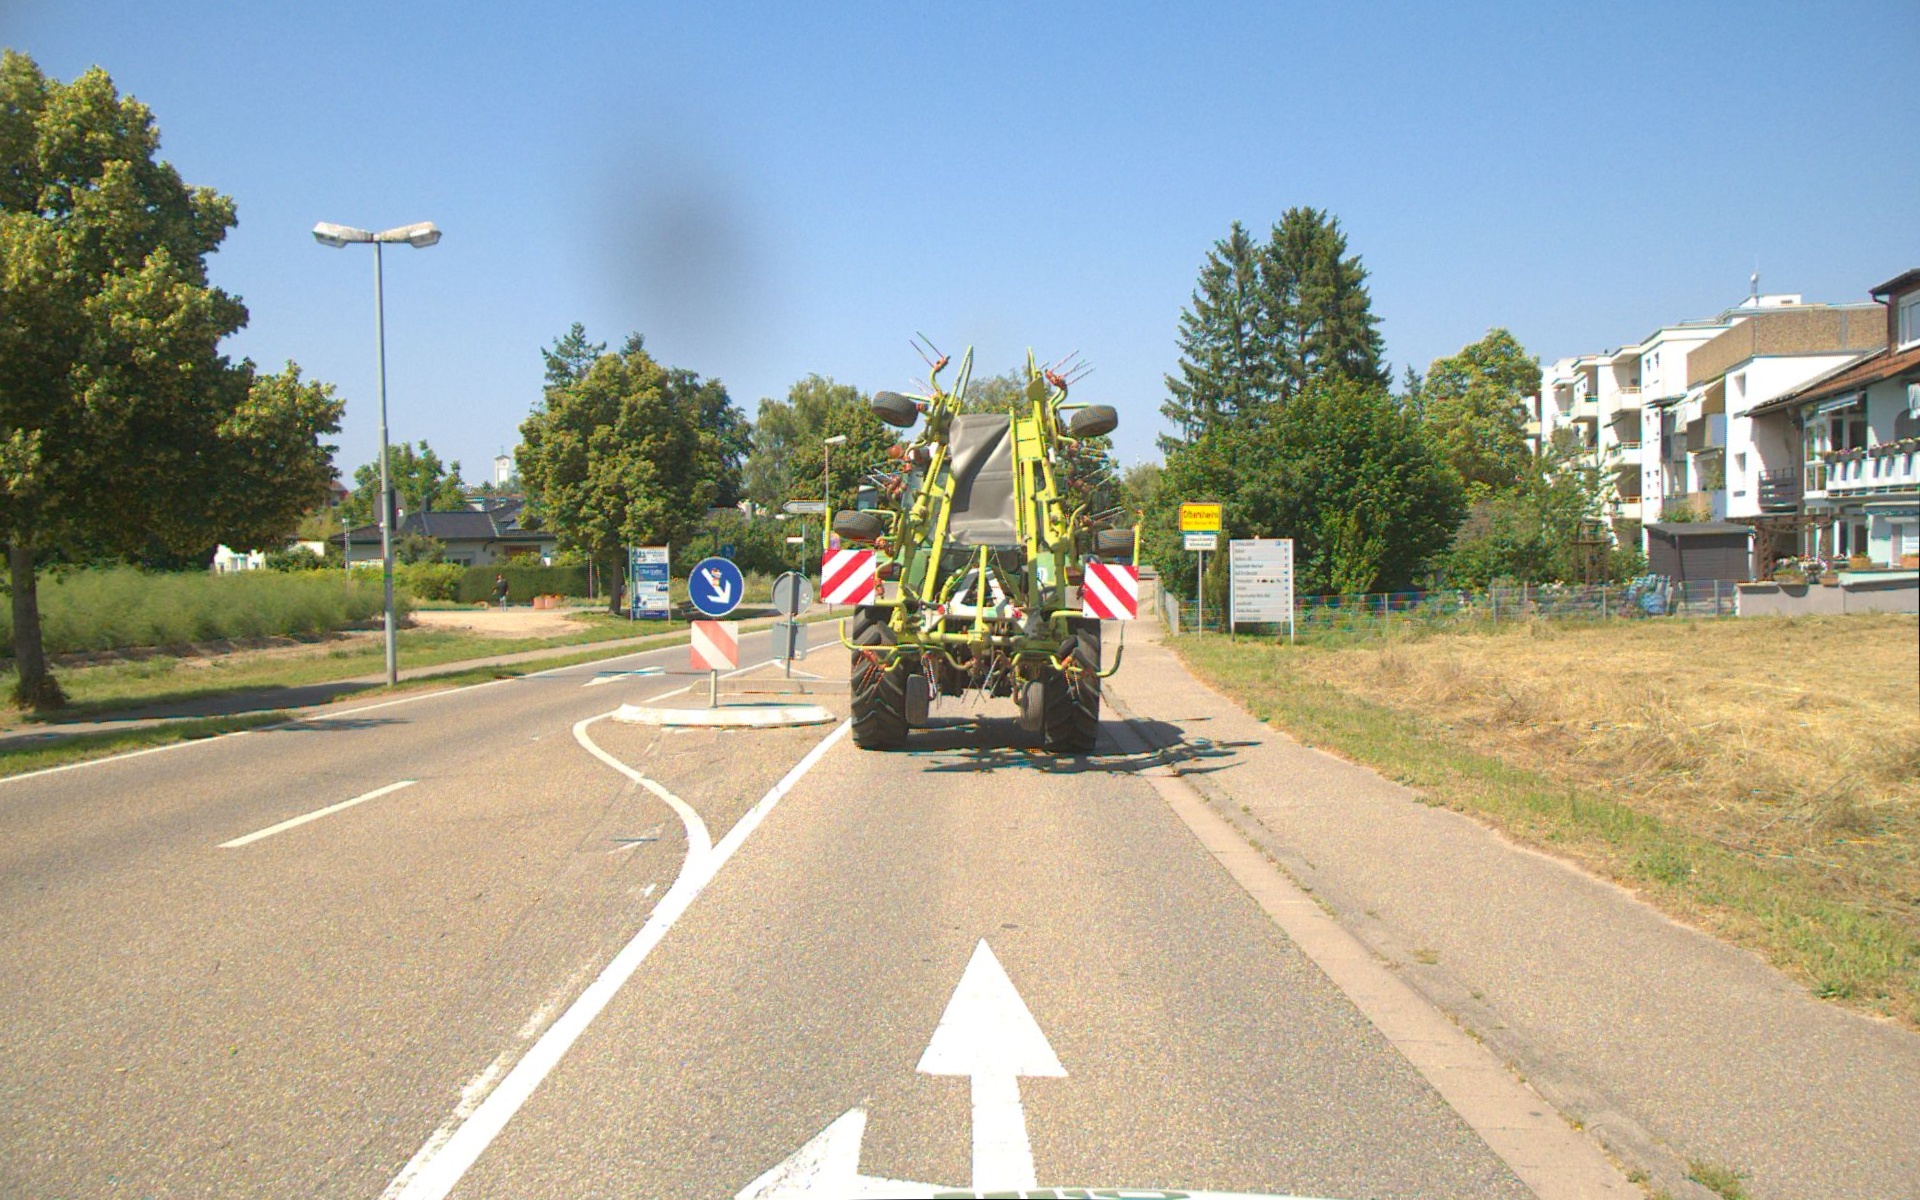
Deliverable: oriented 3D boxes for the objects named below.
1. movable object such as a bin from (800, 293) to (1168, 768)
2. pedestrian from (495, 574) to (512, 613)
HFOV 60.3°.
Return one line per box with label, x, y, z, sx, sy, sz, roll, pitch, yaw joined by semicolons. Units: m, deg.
movable object such as a bin;0.135;-0.543;17.413;2.795;3.603;9.699;0;0;-1
pedestrian;-20.280;-0.287;73.456;0.662;1.746;0.549;0;0;-12
